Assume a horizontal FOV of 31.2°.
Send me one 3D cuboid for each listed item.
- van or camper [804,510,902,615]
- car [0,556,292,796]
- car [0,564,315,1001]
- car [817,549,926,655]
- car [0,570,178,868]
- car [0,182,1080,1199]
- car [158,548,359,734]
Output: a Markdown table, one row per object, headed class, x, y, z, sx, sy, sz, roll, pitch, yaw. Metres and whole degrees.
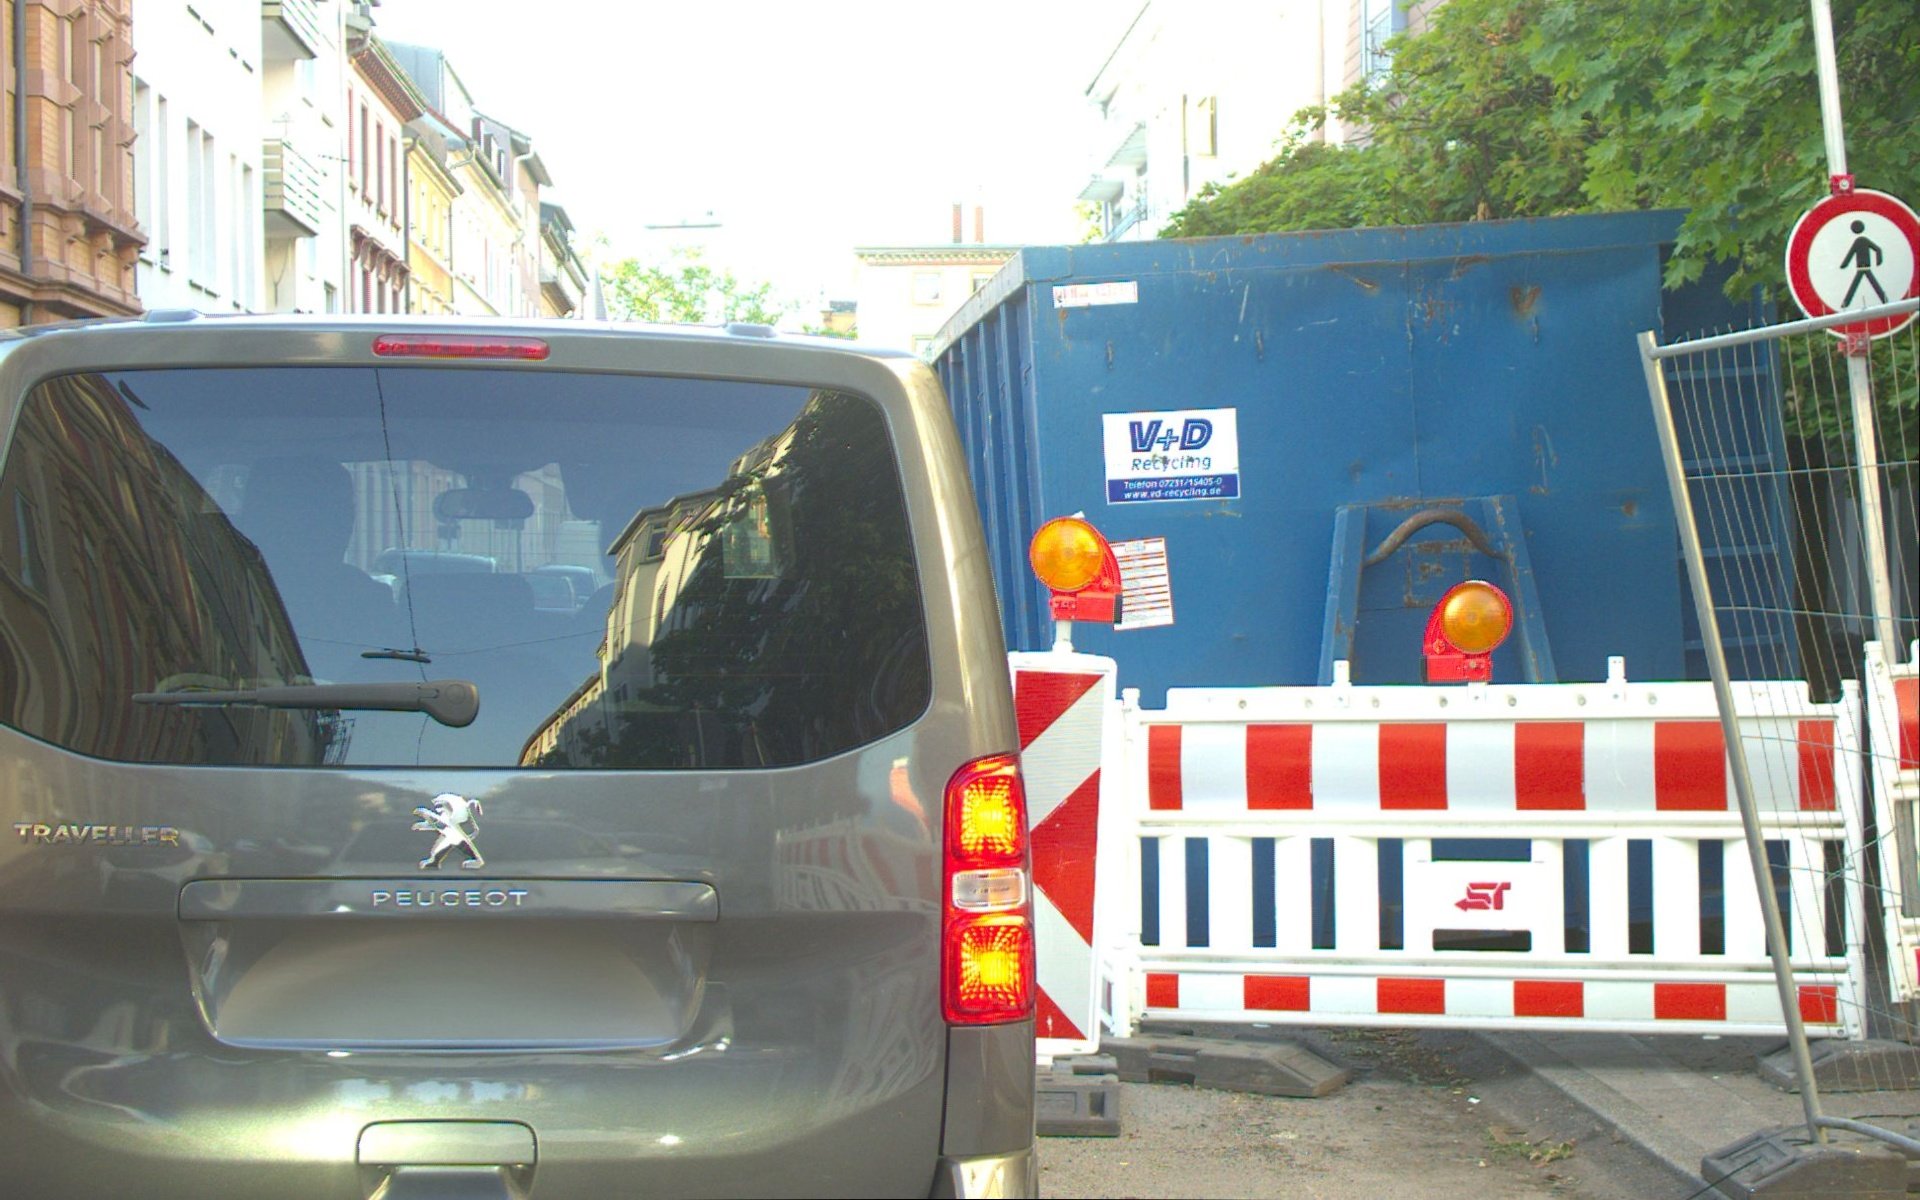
| class | x | y | z | sx | sy | sz | roll | pitch | yaw |
| --- | --- | --- | --- | --- | --- | --- | --- | --- | --- |
| van or camper | -2.872 | -0.993 | 90.210 | 2.099 | 2.593 | 7.513 | -2 | 1 | -5 |
| car | -5.703 | 0.470 | 24.067 | 1.555 | 1.503 | 3.598 | 2 | 1 | -4 |
| car | -3.958 | 0.609 | 13.786 | 1.993 | 1.481 | 4.000 | 0 | 1 | 0 |
| car | -1.468 | 0.002 | 57.411 | 1.749 | 1.677 | 4.526 | 0 | 1 | -1 |
| car | -5.270 | 0.563 | 18.380 | 1.632 | 1.425 | 3.556 | 0 | 1 | -5 |
| car | -0.913 | 0.416 | 6.831 | 1.857 | 2.007 | 4.001 | -2 | 1 | -4 |
| car | -6.225 | 0.328 | 30.727 | 1.395 | 1.583 | 2.794 | 0 | 1 | -4 |
